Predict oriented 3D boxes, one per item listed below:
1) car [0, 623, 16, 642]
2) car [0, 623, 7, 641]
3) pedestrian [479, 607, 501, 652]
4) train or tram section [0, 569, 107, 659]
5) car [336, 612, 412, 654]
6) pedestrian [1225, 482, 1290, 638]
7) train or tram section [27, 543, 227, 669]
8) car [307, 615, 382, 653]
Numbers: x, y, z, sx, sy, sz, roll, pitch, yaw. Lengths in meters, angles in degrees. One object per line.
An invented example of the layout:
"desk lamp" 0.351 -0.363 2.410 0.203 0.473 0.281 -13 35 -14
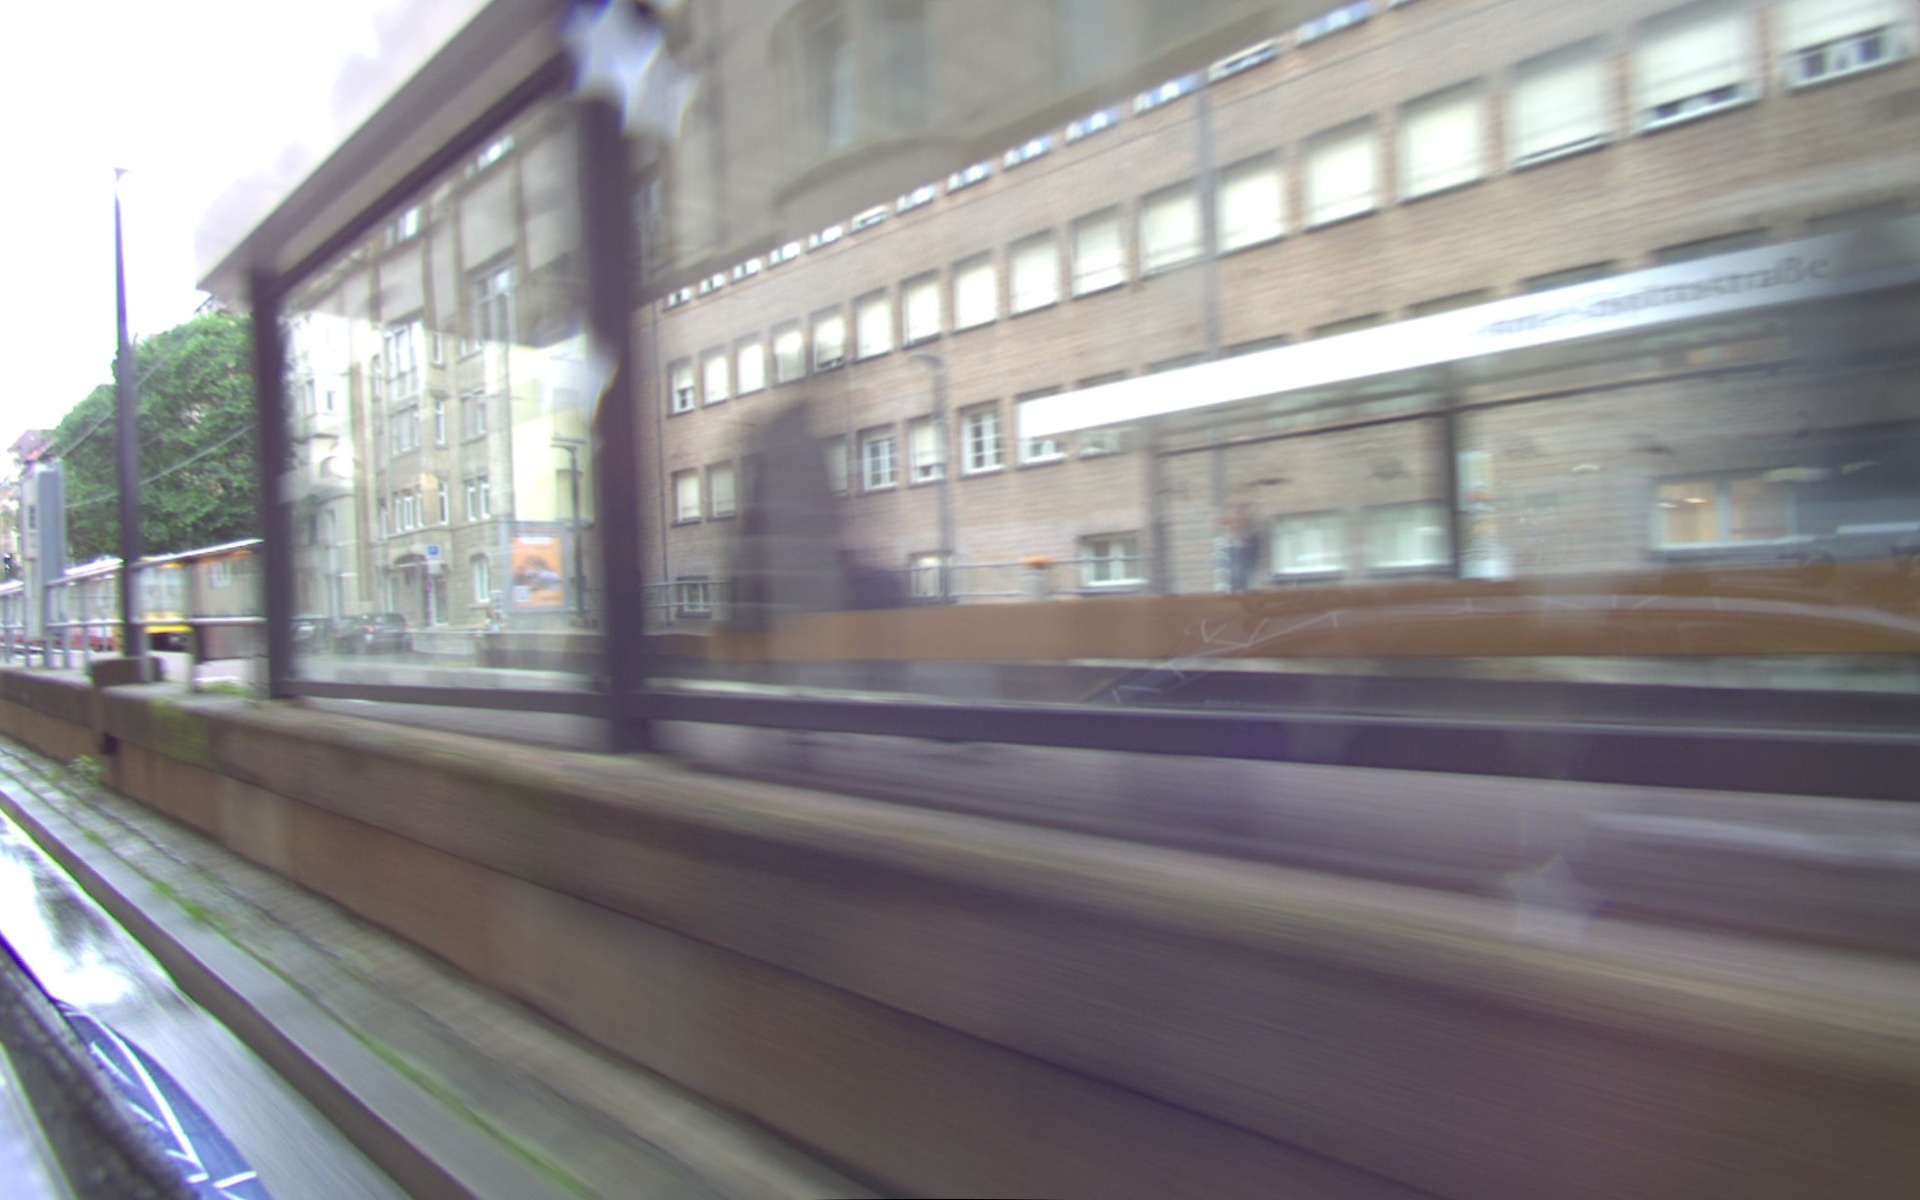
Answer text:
"car" -105.132 3.583 110.955 3.998 1.984 1.973 -2 1 41
"car" -109.040 3.687 114.026 3.998 1.984 1.973 -2 1 41
"pedestrian" -17.843 1.120 38.430 0.542 1.666 0.543 -2 0 42
"train or tram section" -47.549 0.788 51.961 19.286 3.950 2.687 -2 0 41
"car" -22.001 1.232 37.953 3.111 1.477 1.627 -2 -1 43
"pedestrian" 3.399 -0.432 11.561 0.491 1.722 0.581 -2 -2 40
"train or tram section" -32.950 0.369 39.374 19.850 3.950 2.687 -2 0 41
"car" -24.646 1.344 40.488 3.632 1.414 1.627 -2 -1 43
